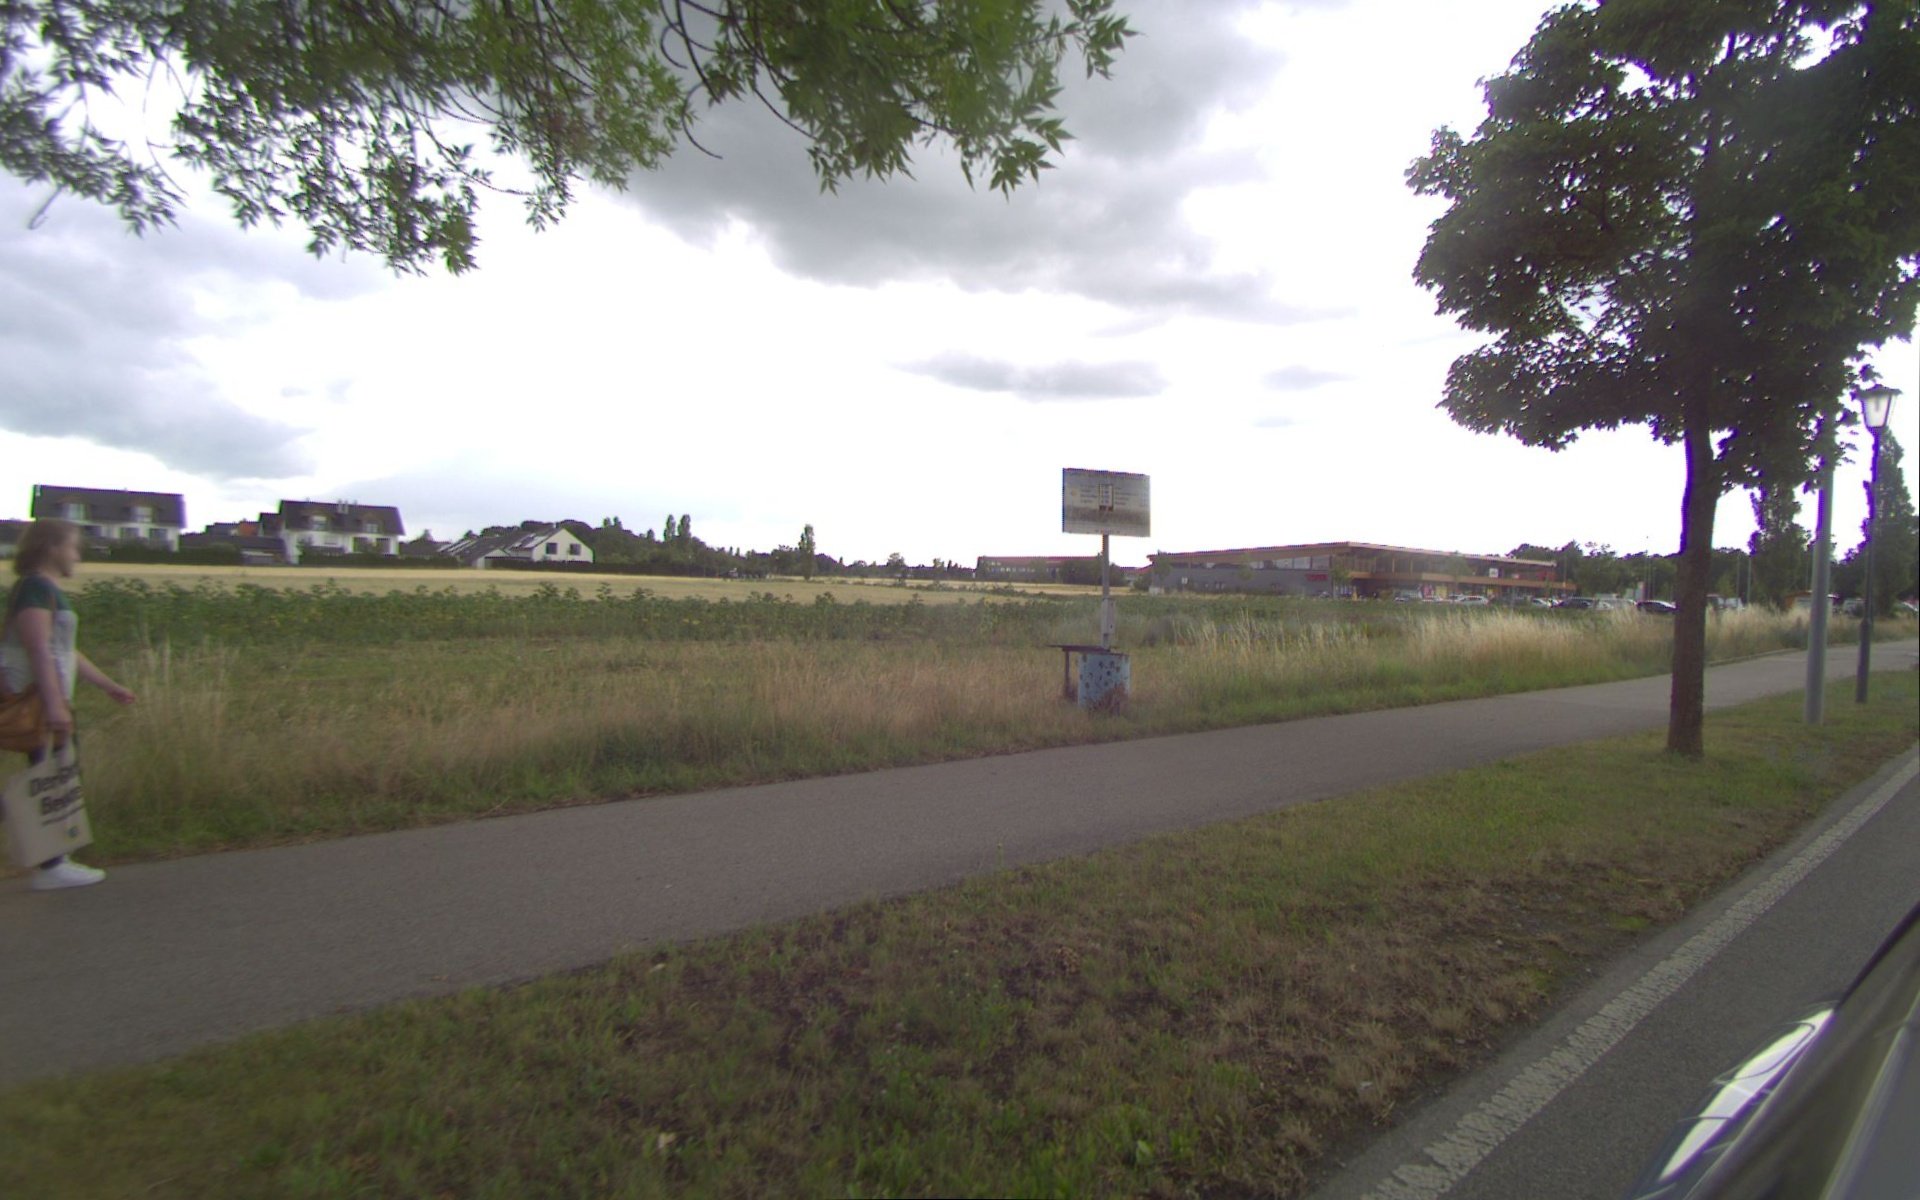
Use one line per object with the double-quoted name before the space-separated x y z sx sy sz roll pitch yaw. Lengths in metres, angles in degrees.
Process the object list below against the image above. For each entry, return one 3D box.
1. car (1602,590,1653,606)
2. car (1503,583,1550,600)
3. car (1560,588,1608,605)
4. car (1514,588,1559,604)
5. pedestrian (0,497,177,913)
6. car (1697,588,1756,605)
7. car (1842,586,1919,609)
"car" 89.239 -0.293 135.330 1.968 2.039 5.512 0 0 -45
"car" 71.692 -1.047 128.111 4.842 2.039 1.969 0 0 44
"car" 77.606 -0.442 125.937 4.842 2.039 1.969 0 0 44
"car" 75.895 -0.484 133.326 4.842 2.039 1.969 0 0 44
"pedestrian" -4.244 0.442 4.731 0.853 1.777 0.840 0 0 -34
"car" 93.007 -0.457 122.912 1.968 2.039 5.512 0 0 -45
"car" 85.816 -0.262 94.173 1.968 2.039 5.512 0 0 -45
